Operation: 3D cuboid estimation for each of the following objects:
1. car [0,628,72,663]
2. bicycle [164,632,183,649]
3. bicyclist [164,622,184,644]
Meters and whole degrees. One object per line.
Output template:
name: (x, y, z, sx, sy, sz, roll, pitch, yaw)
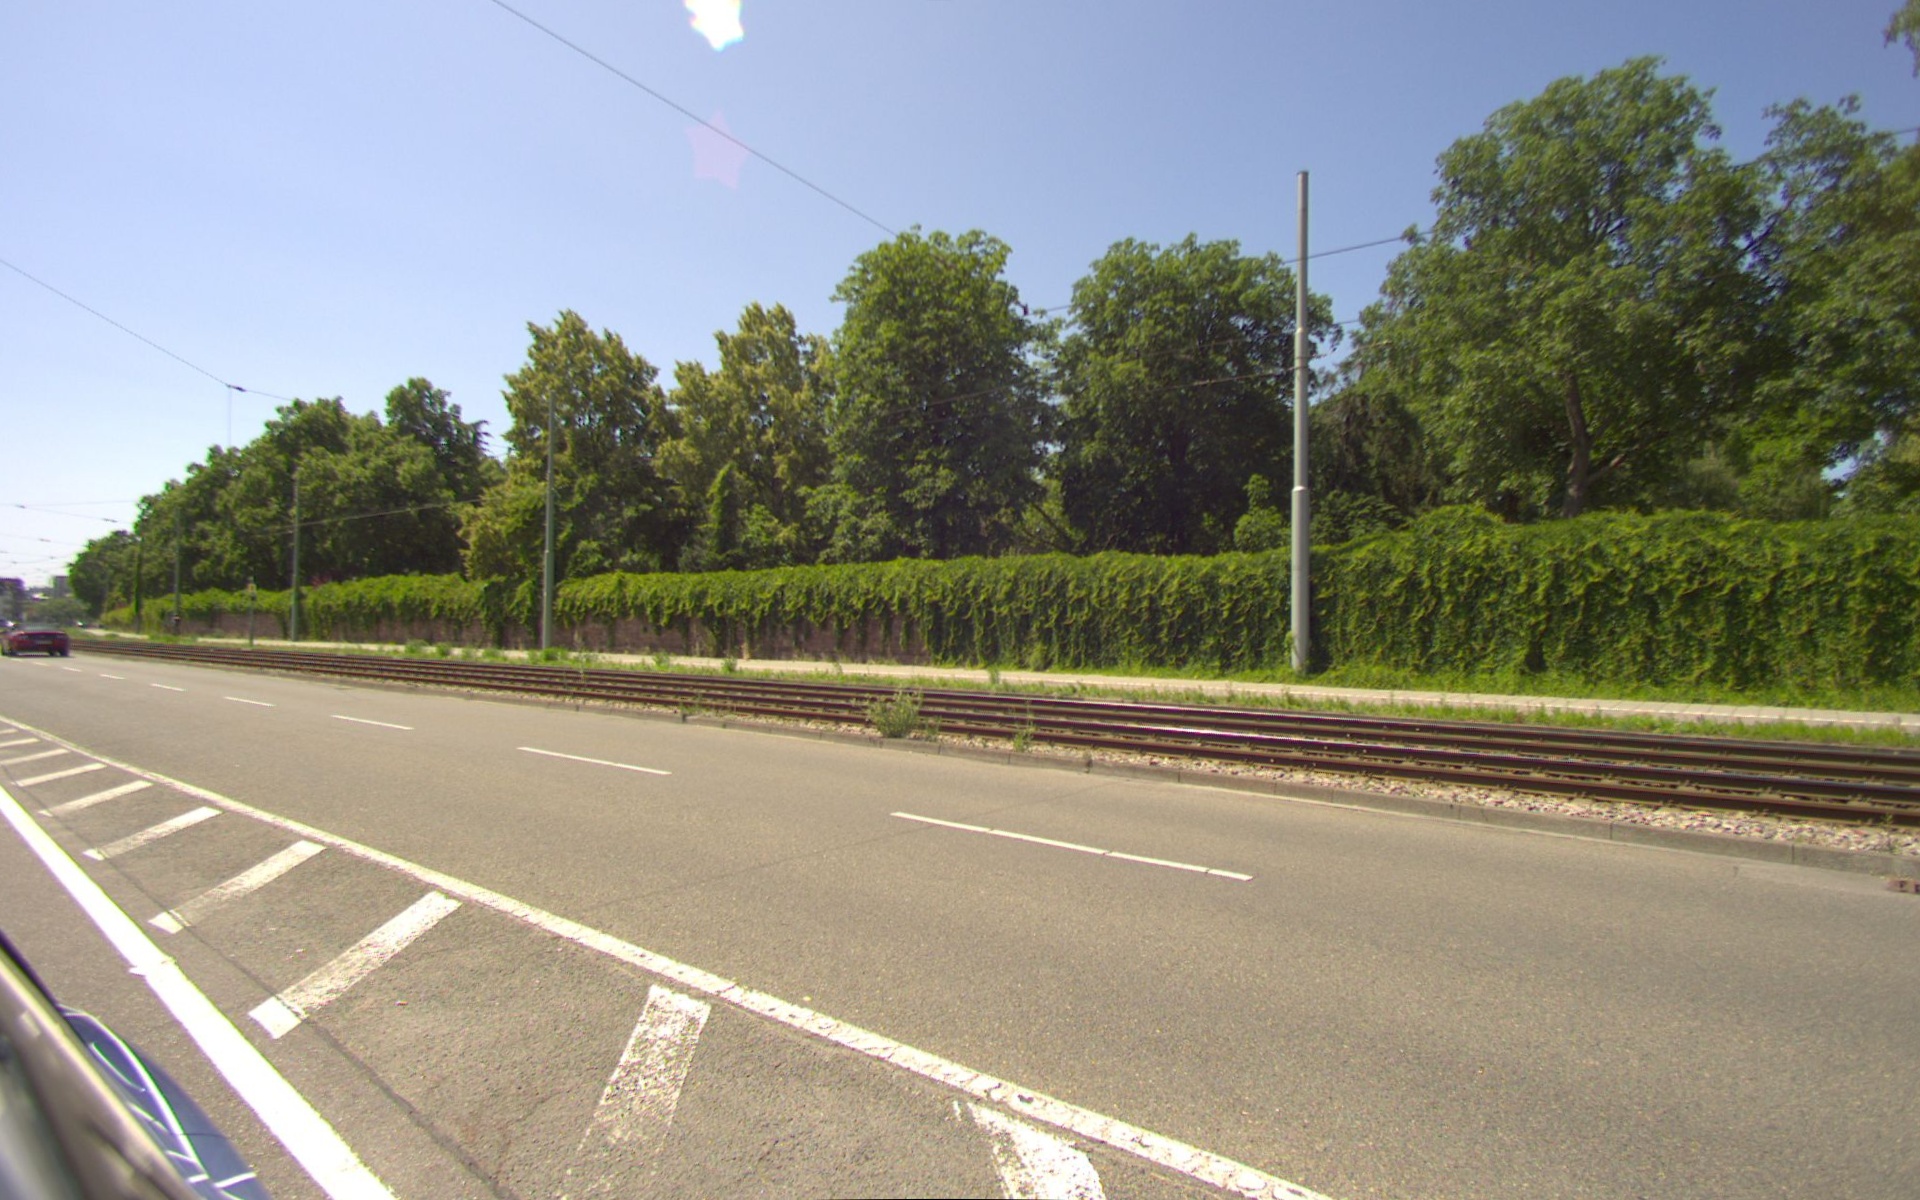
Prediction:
car: (-38.720, 1.858, 42.258, 4.538, 1.369, 1.962, -1, -2, 43)
bicycle: (-55.203, 2.838, 71.026, 0.818, 1.165, 2.688, 1, -2, -43)
bicyclist: (-55.075, 2.311, 70.913, 0.983, 1.497, 1.001, 1, -2, -44)
